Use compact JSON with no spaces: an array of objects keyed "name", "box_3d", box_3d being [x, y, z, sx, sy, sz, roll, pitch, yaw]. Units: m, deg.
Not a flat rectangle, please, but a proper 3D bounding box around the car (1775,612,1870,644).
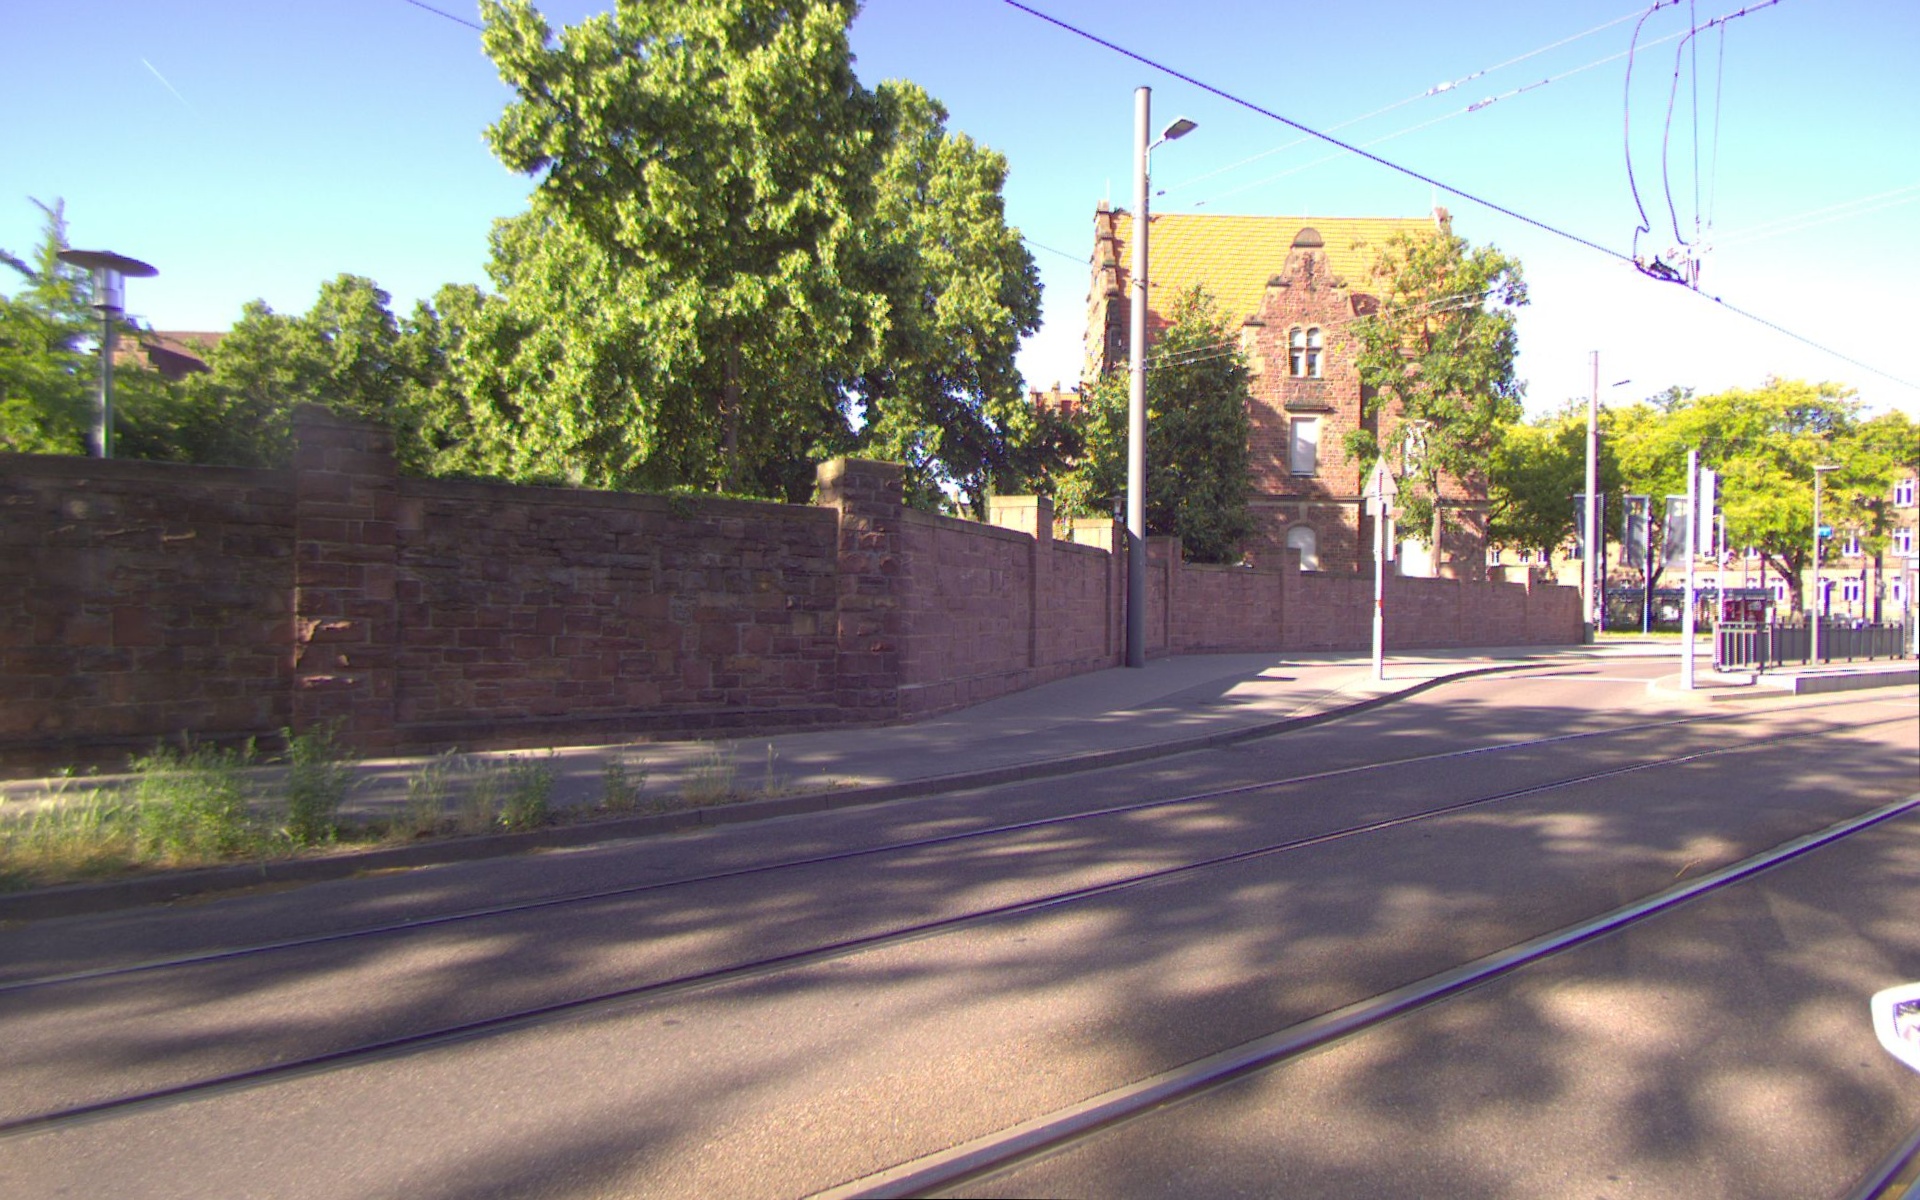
[{"name":"car","box_3d":[51.987,1.670,60.603,1.979,1.813,3.962,1,0,-34]}]
